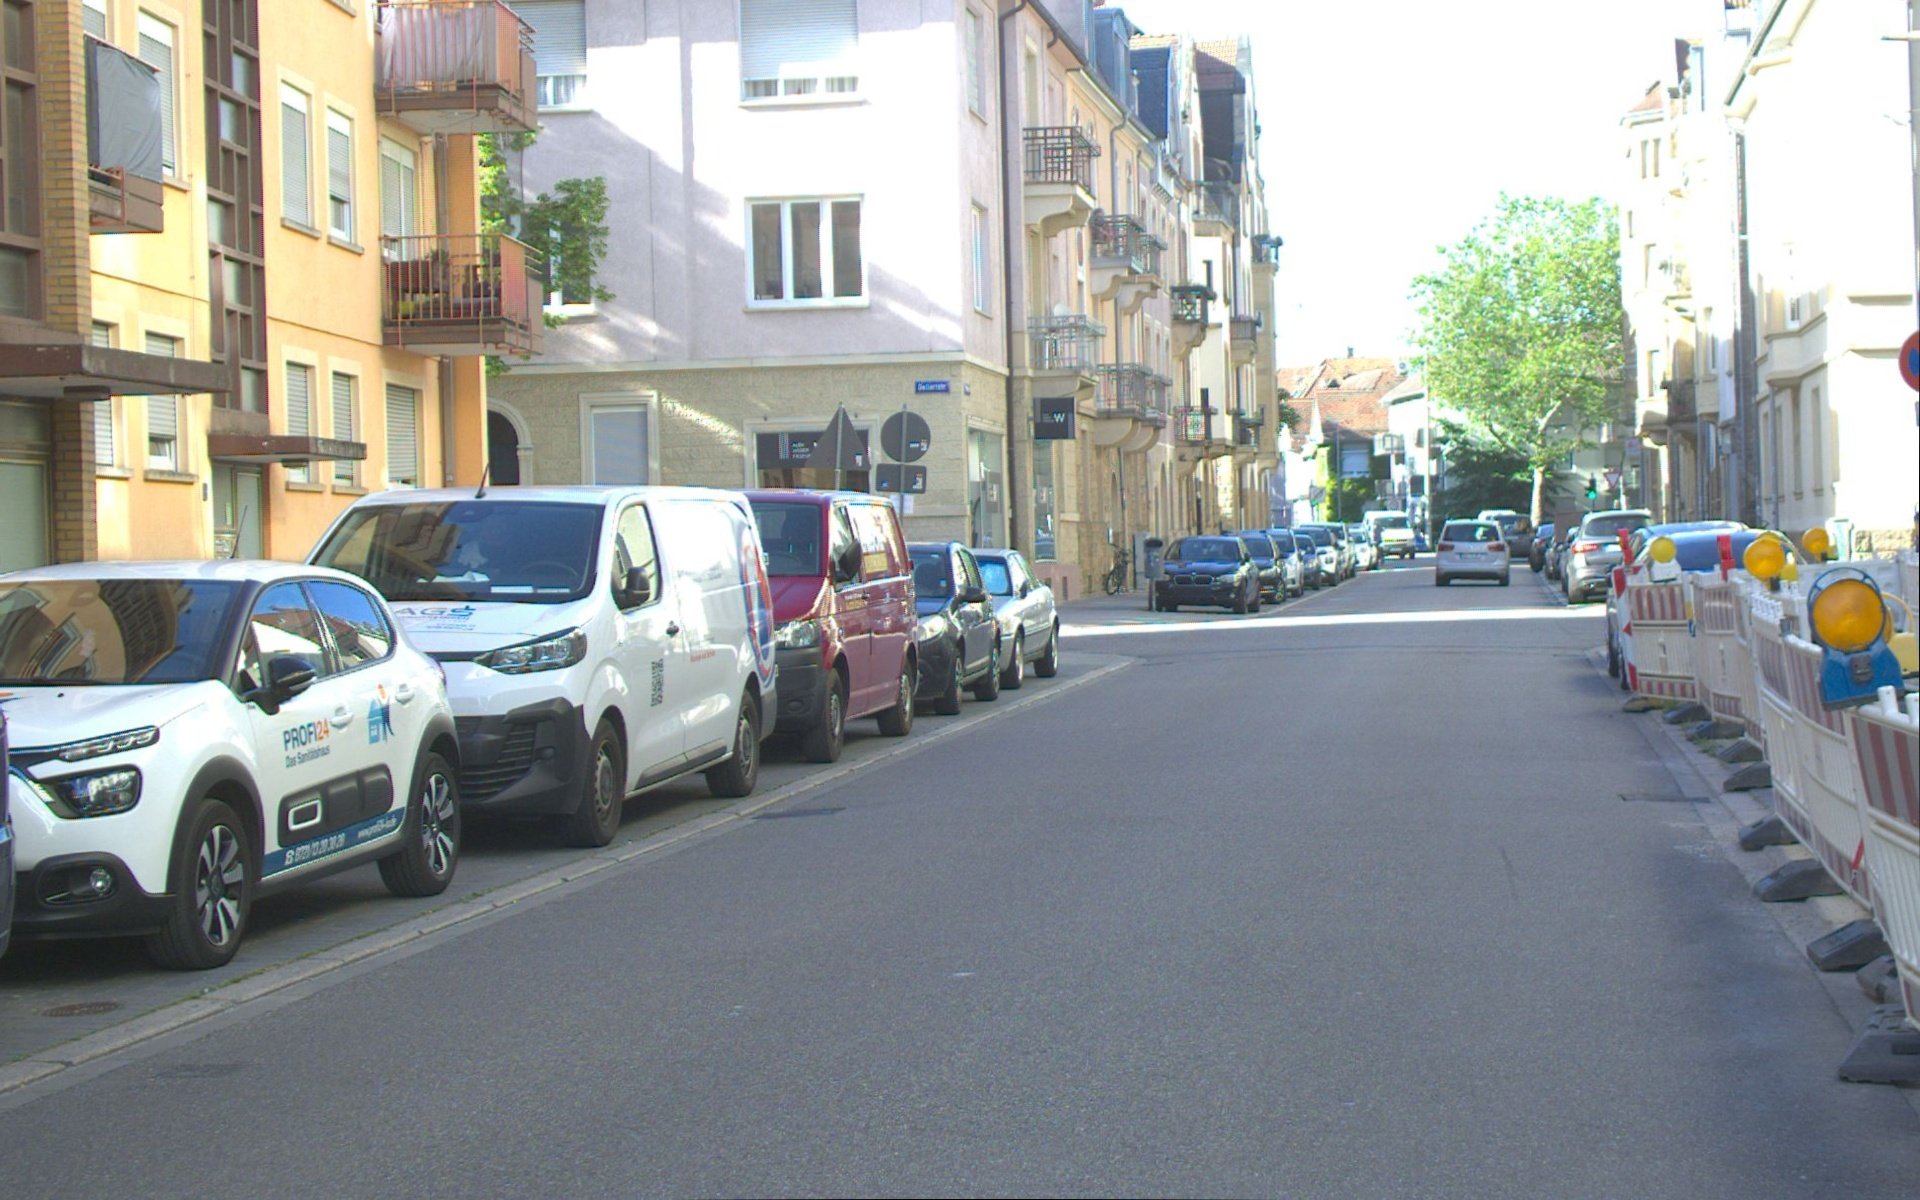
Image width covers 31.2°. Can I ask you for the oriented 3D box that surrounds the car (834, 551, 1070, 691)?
[{"bbox_3d":[-0.016,0.175,36.239,1.763,1.373,4.476,0,1,10],"label":"car"}]

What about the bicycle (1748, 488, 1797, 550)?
[{"bbox_3d":[16.696,-1.648,70.707,0.761,1.242,2.591,-1,1,9],"label":"bicycle"}]

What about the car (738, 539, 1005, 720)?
[{"bbox_3d":[-0.727,0.222,31.091,1.763,1.497,3.999,-1,1,8],"label":"car"}]

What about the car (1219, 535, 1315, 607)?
[{"bbox_3d":[7.301,-0.683,81.396,2.004,1.613,4.486,1,0,8],"label":"car"}]

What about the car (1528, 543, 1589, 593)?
[{"bbox_3d":[18.986,-1.007,109.091,1.839,1.427,4.027,-2,-1,10],"label":"car"}]

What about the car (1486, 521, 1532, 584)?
[{"bbox_3d":[23.569,-2.034,147.571,1.839,2.525,4.174,-2,-1,10],"label":"car"}]

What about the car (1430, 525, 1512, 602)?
[{"bbox_3d":[13.255,-0.934,89.133,2.004,1.907,4.485,1,0,9],"label":"car"}]

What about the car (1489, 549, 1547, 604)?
[{"bbox_3d":[20.992,-0.872,129.493,2.004,1.993,4.486,1,0,8],"label":"car"}]

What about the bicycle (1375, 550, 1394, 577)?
[{"bbox_3d":[16.654,-1.434,134.924,0.662,1.015,2.066,-2,0,8],"label":"bicycle"}]

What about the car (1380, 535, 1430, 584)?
[{"bbox_3d":[18.741,-1.678,144.672,2.004,1.993,4.486,1,0,8],"label":"car"}]

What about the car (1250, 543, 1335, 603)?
[{"bbox_3d":[8.724,-0.699,89.988,1.979,1.477,4.326,1,0,8],"label":"car"}]

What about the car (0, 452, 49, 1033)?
[{"bbox_3d":[-4.059,0.461,8.808,1.763,1.765,4.293,0,1,9],"label":"car"}]

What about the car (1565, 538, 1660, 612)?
[{"bbox_3d":[13.737,-0.497,72.543,1.839,1.427,4.027,-2,-1,10],"label":"car"}]

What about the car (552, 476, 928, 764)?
[{"bbox_3d":[-1.503,0.093,25.444,1.763,1.918,4.933,0,1,9],"label":"car"}]

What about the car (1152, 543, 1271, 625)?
[{"bbox_3d":[4.670,-0.285,63.409,1.680,1.421,4.272,1,0,11],"label":"car"}]

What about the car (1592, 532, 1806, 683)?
[{"bbox_3d":[7.990,0.045,37.486,1.763,1.466,4.084,-3,1,6],"label":"car"}]

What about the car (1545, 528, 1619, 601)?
[{"bbox_3d":[16.352,-0.913,90.537,1.839,1.781,4.027,-1,-1,10],"label":"car"}]

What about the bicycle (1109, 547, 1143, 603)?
[{"bbox_3d":[3.855,-0.584,79.652,0.541,1.297,1.866,0,1,10],"label":"bicycle"}]

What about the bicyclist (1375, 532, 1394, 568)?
[{"bbox_3d":[16.647,-1.976,134.931,0.662,1.381,0.753,-2,0,8],"label":"bicyclist"}]

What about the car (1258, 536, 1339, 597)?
[{"bbox_3d":[9.352,-0.910,94.653,2.004,1.613,4.486,1,0,8],"label":"car"}]

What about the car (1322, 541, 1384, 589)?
[{"bbox_3d":[13.781,-1.208,120.273,2.004,1.600,4.486,1,0,8],"label":"car"}]

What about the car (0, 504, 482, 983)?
[{"bbox_3d":[-3.398,0.450,13.848,1.763,1.615,4.293,0,1,9],"label":"car"}]

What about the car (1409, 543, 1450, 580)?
[{"bbox_3d":[23.711,-1.935,173.553,2.004,1.811,4.486,1,0,8],"label":"car"}]

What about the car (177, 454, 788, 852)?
[{"bbox_3d":[-2.471,0.215,19.374,1.976,1.918,5.307,0,1,9],"label":"car"}]

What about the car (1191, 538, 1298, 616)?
[{"bbox_3d":[6.177,-0.486,74.149,2.004,1.577,4.486,1,0,8],"label":"car"}]

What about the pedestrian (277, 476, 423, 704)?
[{"bbox_3d":[-4.924,-0.087,27.821,0.924,1.811,0.994,0,1,6],"label":"pedestrian"}]

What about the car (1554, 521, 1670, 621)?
[{"bbox_3d":[11.741,-0.486,61.810,1.914,1.639,4.771,-2,-1,11],"label":"car"}]
